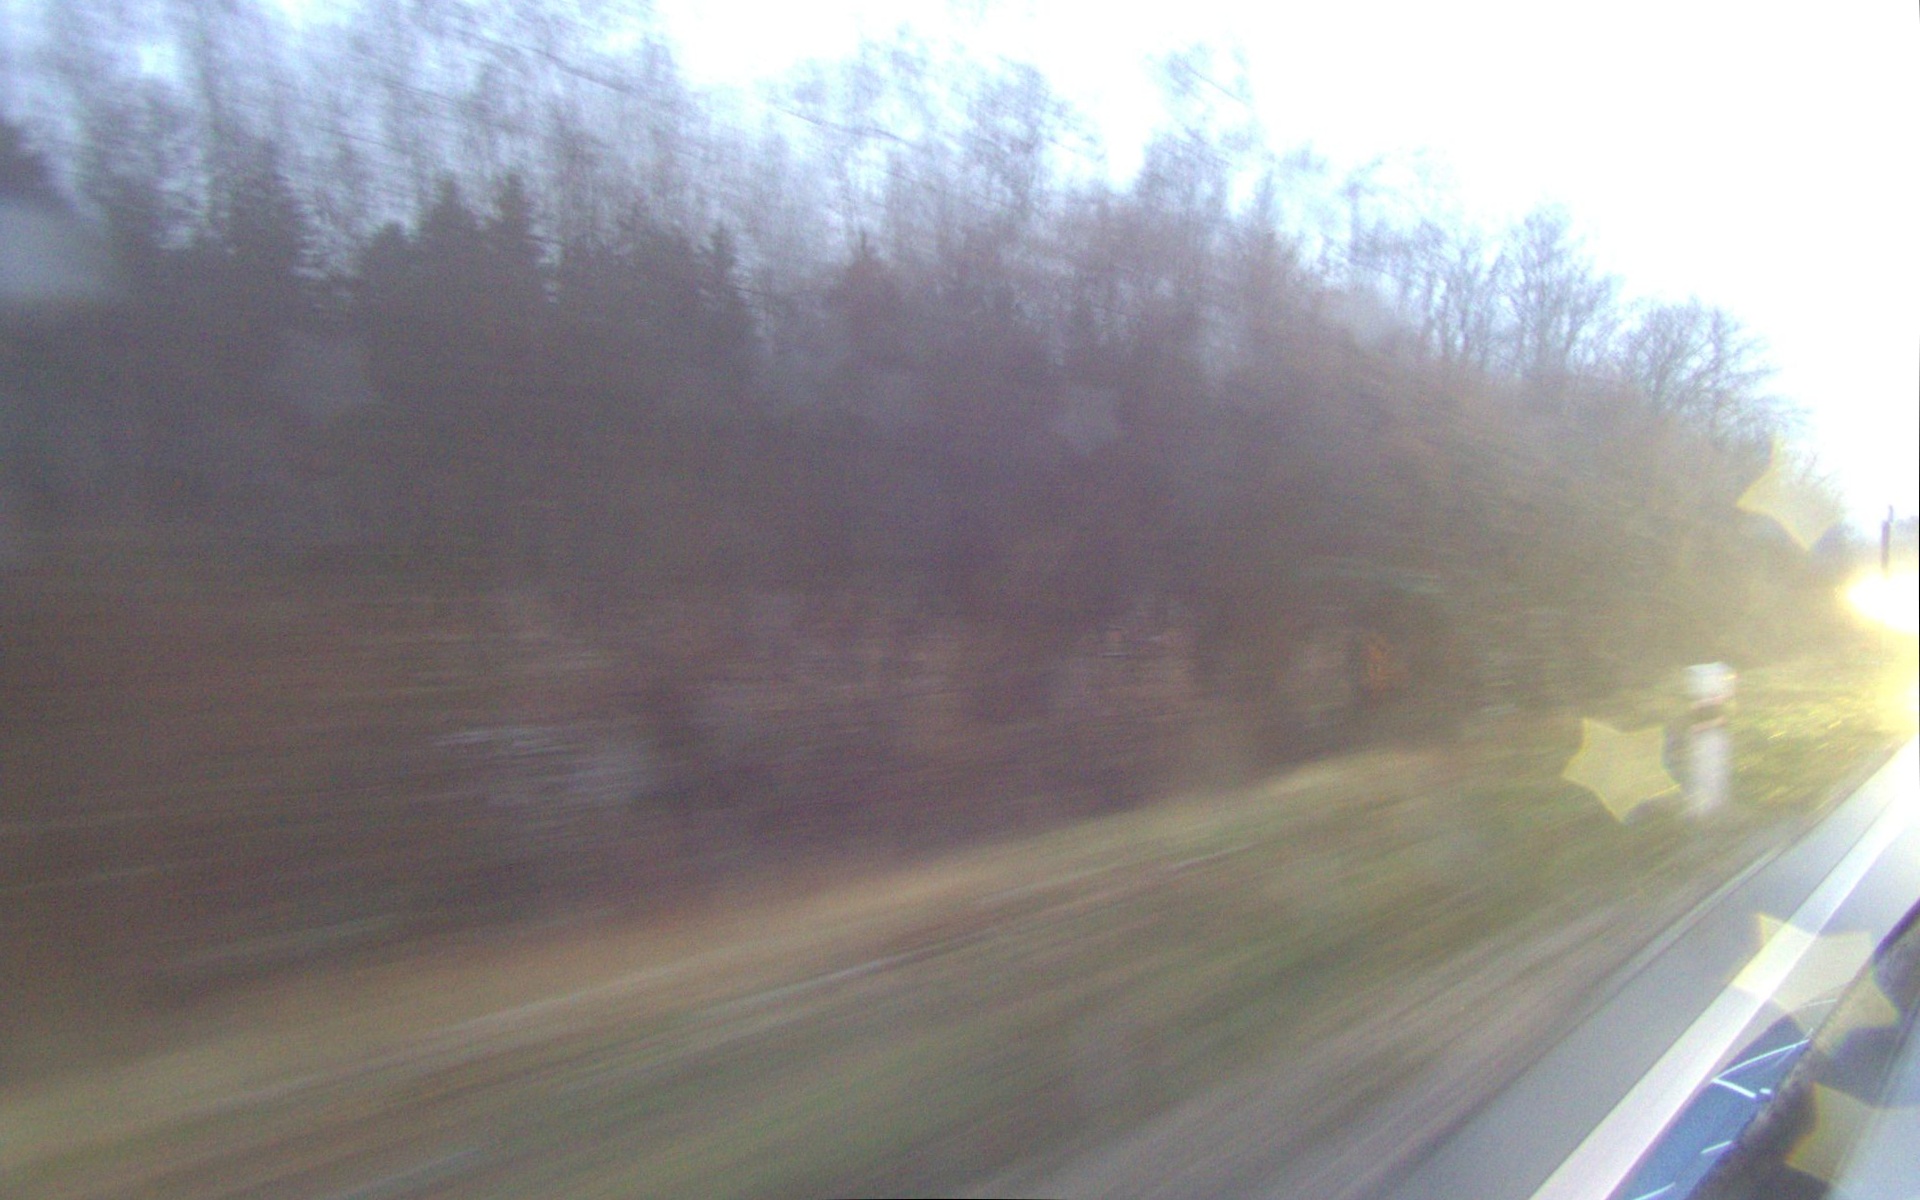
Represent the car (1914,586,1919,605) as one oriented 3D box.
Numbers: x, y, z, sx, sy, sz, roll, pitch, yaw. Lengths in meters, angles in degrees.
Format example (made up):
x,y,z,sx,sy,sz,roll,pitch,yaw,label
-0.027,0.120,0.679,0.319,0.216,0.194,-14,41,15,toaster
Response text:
x,y,z,sx,sy,sz,roll,pitch,yaw,label
92.189,-0.439,96.280,1.694,1.752,3.946,0,2,38,car
